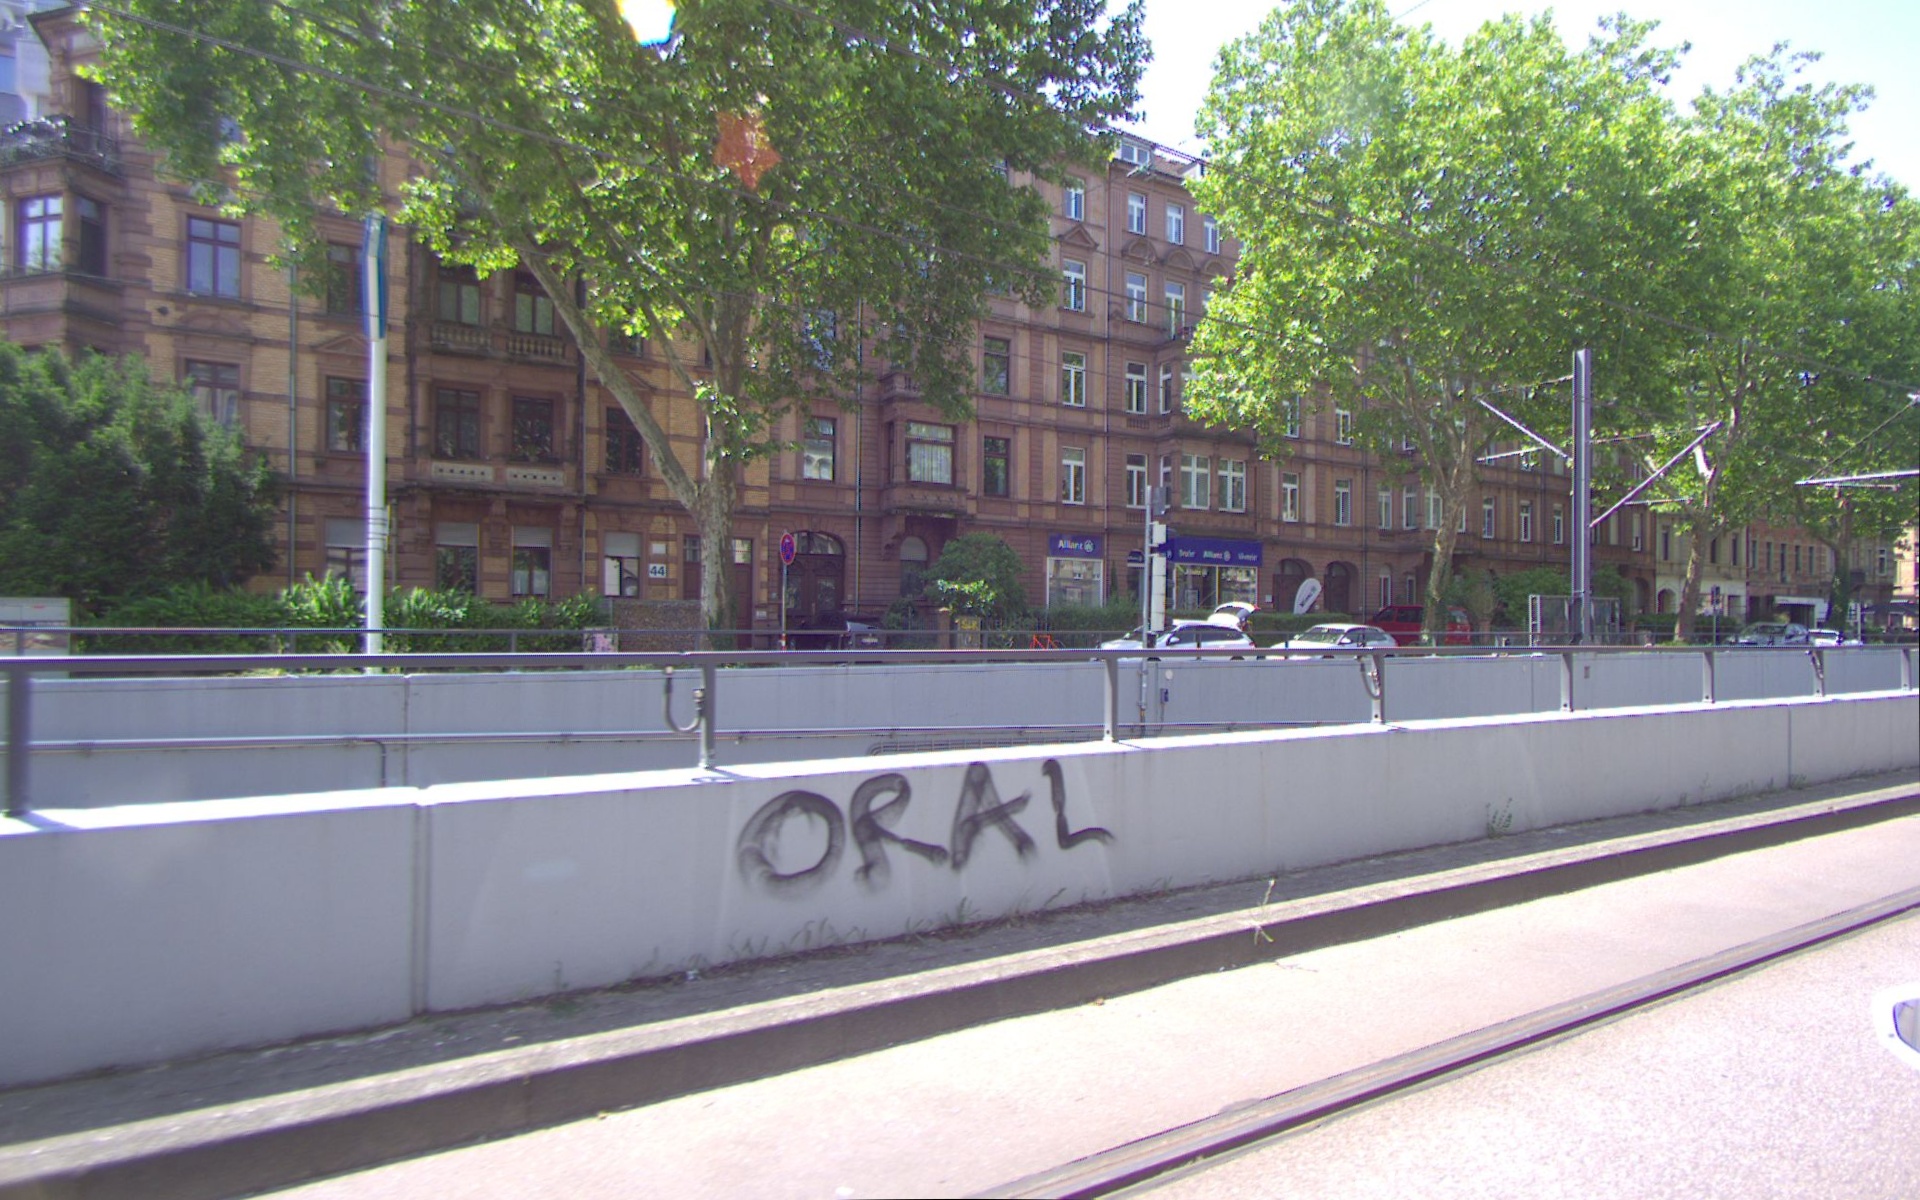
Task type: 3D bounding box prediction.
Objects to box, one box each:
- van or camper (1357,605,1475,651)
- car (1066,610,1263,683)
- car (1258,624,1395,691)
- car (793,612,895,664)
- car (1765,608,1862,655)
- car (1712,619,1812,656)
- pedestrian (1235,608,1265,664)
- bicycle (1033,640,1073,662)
[{"bbox_3d":[19.500,1.166,43.209,1.905,1.861,4.533,1,-1,-23],"label":"van or camper"},{"bbox_3d":[5.087,1.101,24.827,4.664,1.646,1.983,1,0,-31],"label":"car"},{"bbox_3d":[10.176,1.551,27.836,3.664,1.707,1.645,1,-1,-31],"label":"car"},{"bbox_3d":[-3.493,1.082,29.721,1.635,1.444,3.461,1,-1,-33],"label":"car"},{"bbox_3d":[36.942,1.367,43.461,4.100,1.930,1.984,1,0,-31],"label":"car"},{"bbox_3d":[32.537,1.501,40.746,4.149,1.419,1.843,1,-1,-31],"label":"car"},{"bbox_3d":[7.676,0.948,26.590,0.717,1.445,0.515,1,0,20],"label":"pedestrian"},{"bbox_3d":[2.863,1.568,30.940,1.329,0.659,0.278,1,-1,-32],"label":"bicycle"}]
